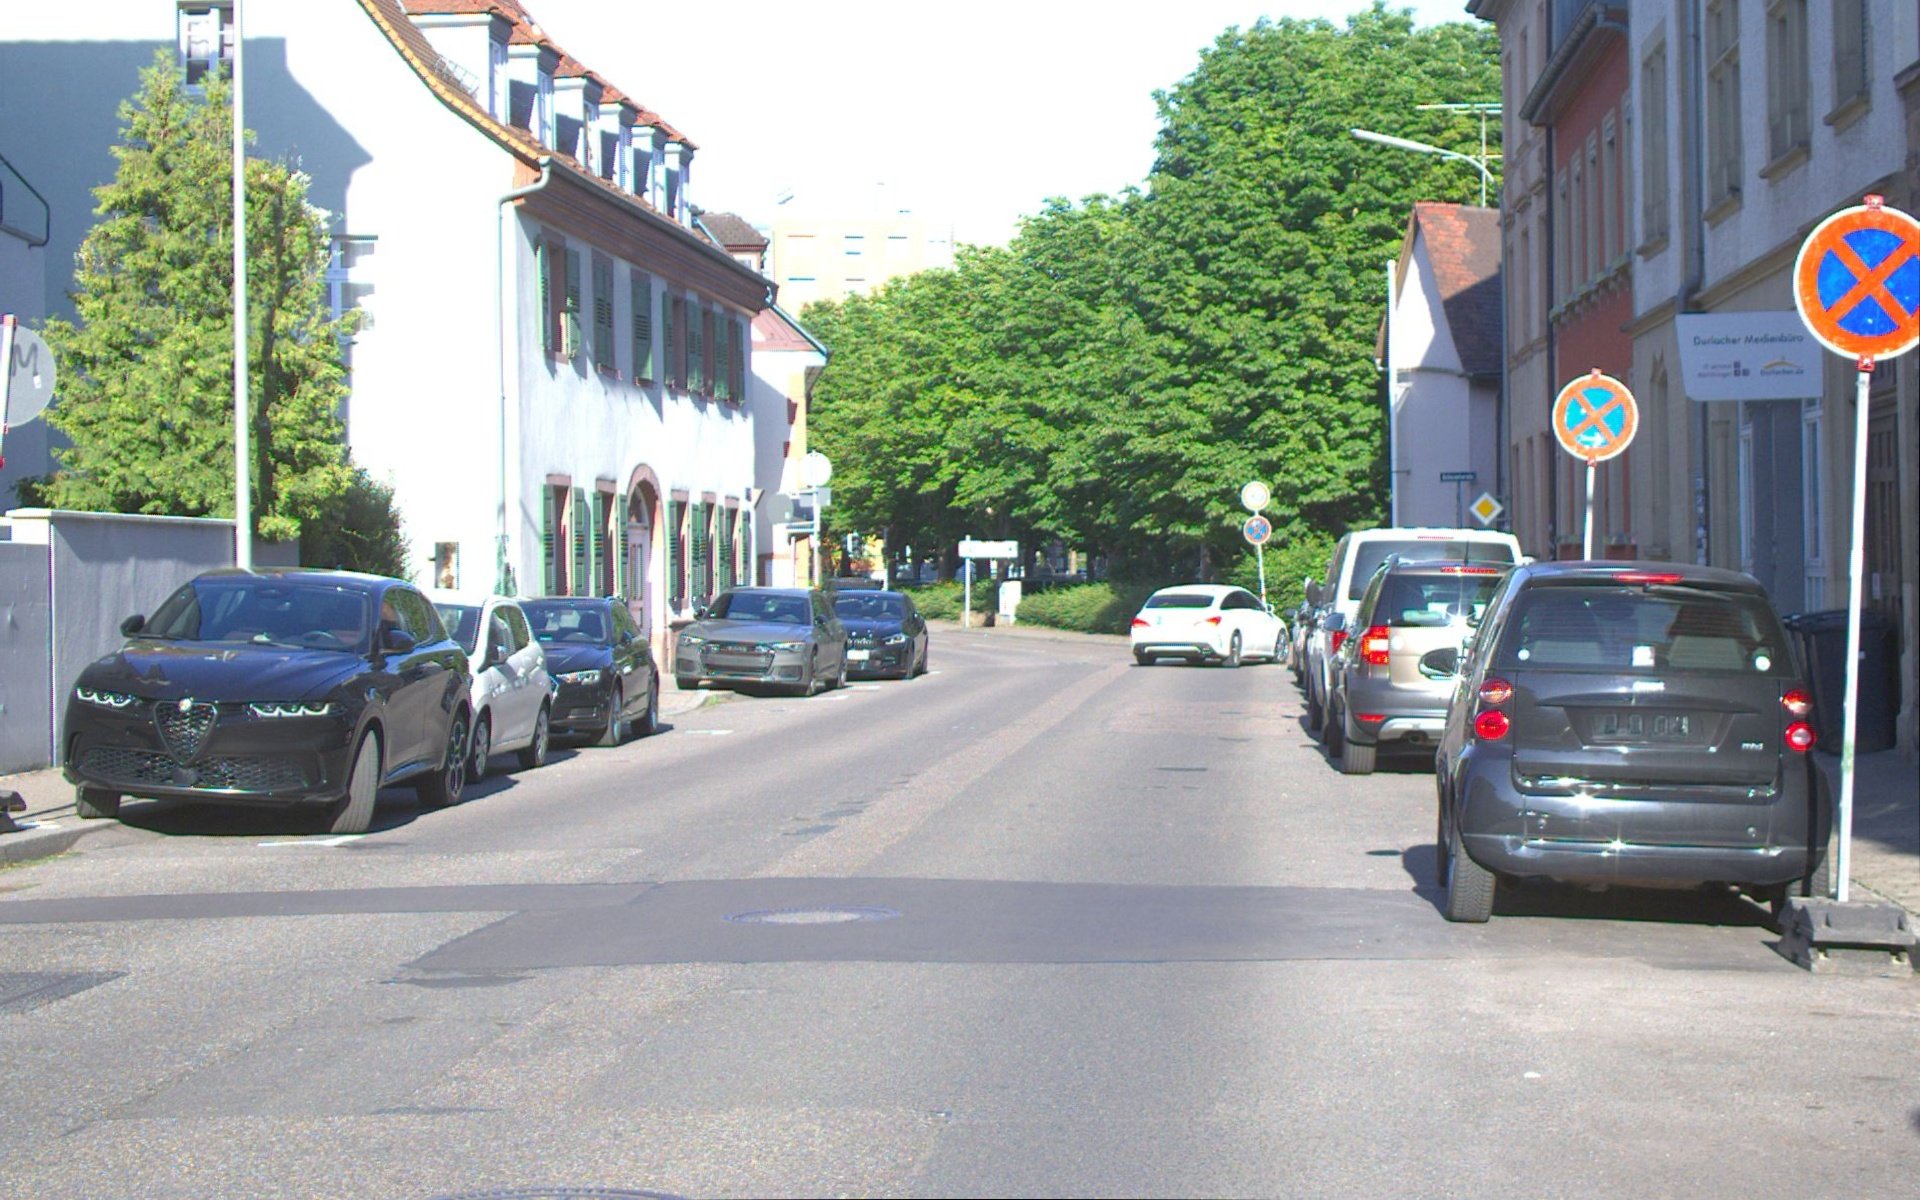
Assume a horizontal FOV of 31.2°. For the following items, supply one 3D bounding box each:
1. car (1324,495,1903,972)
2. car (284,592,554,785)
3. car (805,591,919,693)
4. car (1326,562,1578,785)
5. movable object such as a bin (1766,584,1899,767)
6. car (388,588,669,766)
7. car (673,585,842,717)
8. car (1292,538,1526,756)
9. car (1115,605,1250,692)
[{"bbox_3d":[2.839,0.523,15.842,2.011,1.846,4.000,2,0,3],"label":"car"},{"bbox_3d":[-4.301,0.670,27.718,1.553,1.453,3.060,0,0,3],"label":"car"},{"bbox_3d":[-1.598,0.669,56.845,1.631,1.625,3.174,0,0,3],"label":"car"},{"bbox_3d":[3.817,0.530,27.162,1.818,1.625,3.999,0,0,6],"label":"car"},{"bbox_3d":[6.698,0.573,26.425,0.871,1.373,0.685,-1,1,4],"label":"movable object such as a bin"},{"bbox_3d":[-4.149,0.709,33.673,2.093,1.625,3.821,0,0,3],"label":"car"},{"bbox_3d":[-2.771,0.673,47.964,1.910,1.754,4.128,0,0,3],"label":"car"},{"bbox_3d":[4.123,0.403,32.074,1.841,1.899,4.000,0,0,3],"label":"car"},{"bbox_3d":[3.872,0.837,60.316,1.993,1.461,4.000,1,0,-2],"label":"car"}]
